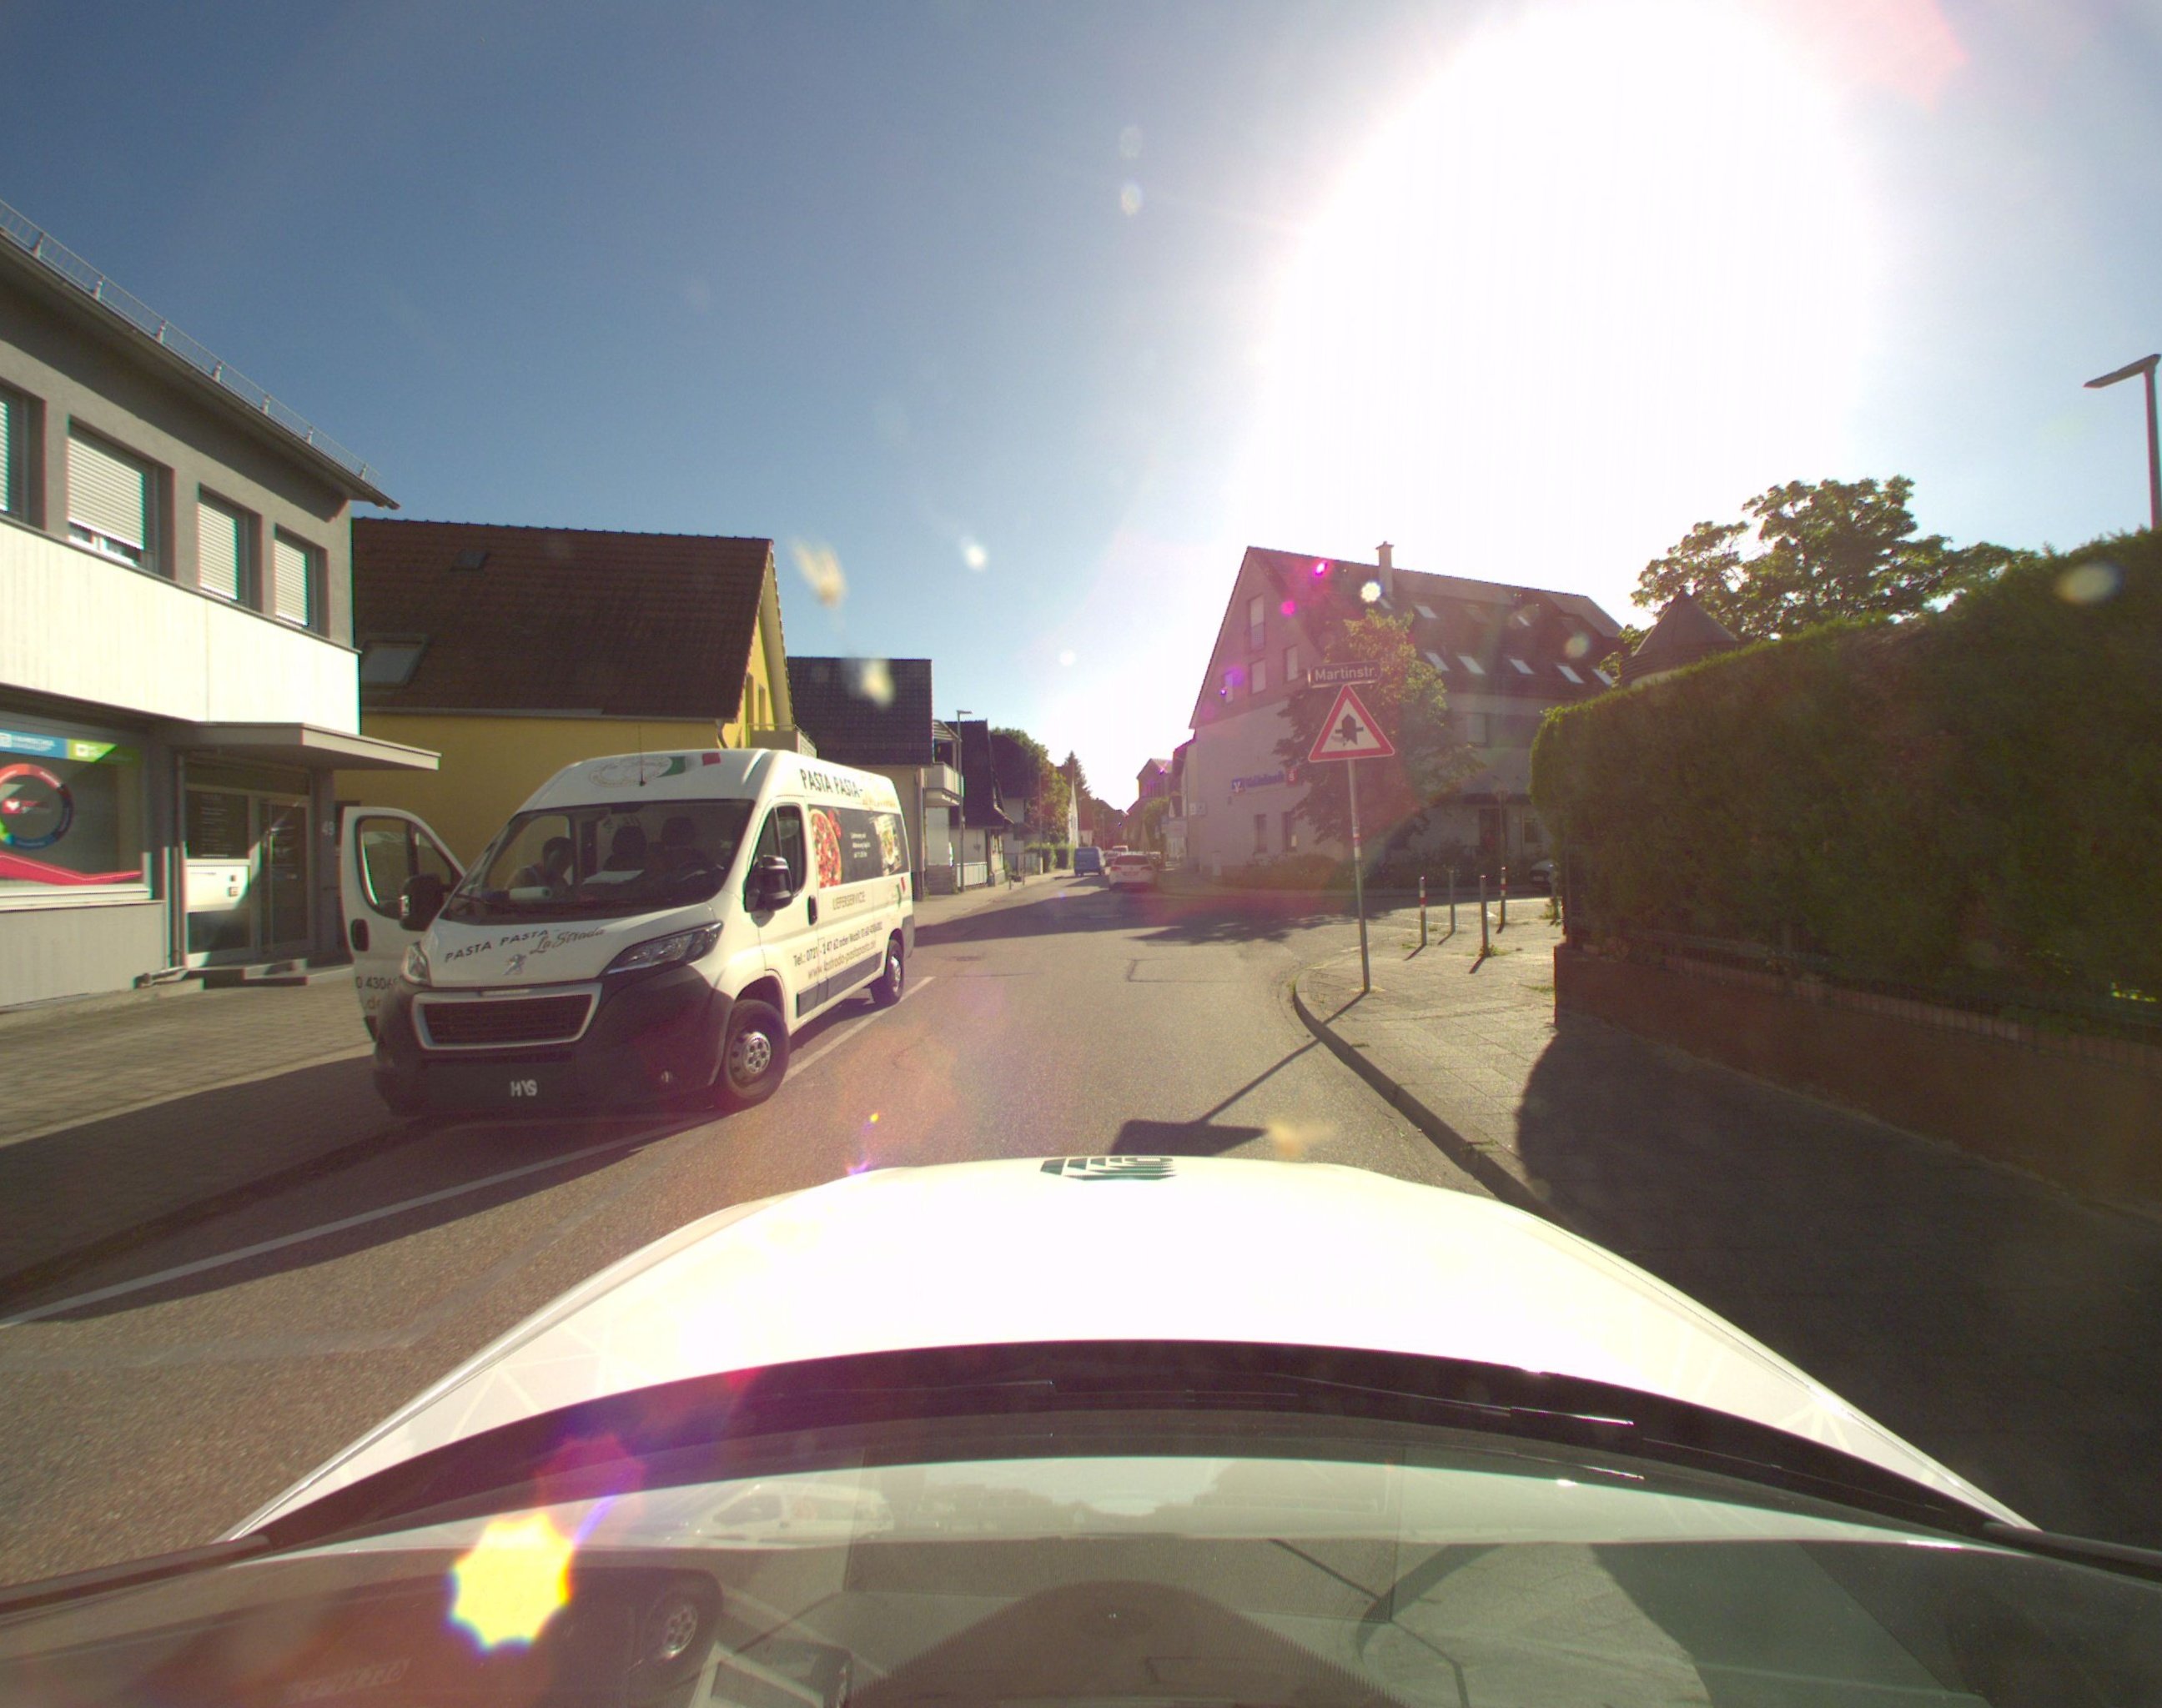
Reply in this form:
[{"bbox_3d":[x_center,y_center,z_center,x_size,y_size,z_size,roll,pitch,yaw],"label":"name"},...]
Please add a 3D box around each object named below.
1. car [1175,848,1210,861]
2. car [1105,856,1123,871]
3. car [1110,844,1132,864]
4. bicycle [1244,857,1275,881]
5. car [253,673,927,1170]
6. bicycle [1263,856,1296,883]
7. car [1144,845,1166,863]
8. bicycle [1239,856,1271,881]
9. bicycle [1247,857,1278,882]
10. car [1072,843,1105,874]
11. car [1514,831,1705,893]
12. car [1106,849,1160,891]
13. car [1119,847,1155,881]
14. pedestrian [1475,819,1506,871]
[{"bbox_3d":[13.612,0.064,99.406,3.883,1.492,1.854,-3,0,15],"label":"car"},{"bbox_3d":[3.689,1.041,90.491,1.706,1.598,3.932,-3,0,6],"label":"car"},{"bbox_3d":[5.063,-0.021,102.610,2.186,2.390,6.075,-4,0,6],"label":"car"},{"bbox_3d":[7.156,0.585,32.634,1.155,0.920,0.314,-2,0,11],"label":"bicycle"},{"bbox_3d":[-3.053,0.336,6.954,2.244,2.470,5.517,-2,0,1],"label":"car"},{"bbox_3d":[7.382,0.574,30.298,1.158,0.920,0.313,-2,0,1],"label":"bicycle"},{"bbox_3d":[6.376,-0.027,70.036,1.803,1.475,4.666,-1,0,5],"label":"car"},{"bbox_3d":[7.108,0.581,33.316,1.212,0.975,0.321,-2,0,17],"label":"bicycle"},{"bbox_3d":[7.125,0.612,32.036,1.155,0.920,0.314,-2,0,11],"label":"bicycle"},{"bbox_3d":[0.559,0.295,55.270,1.894,1.917,5.073,-3,0,3],"label":"car"},{"bbox_3d":[14.652,0.199,22.704,4.285,1.494,1.811,-2,0,-6],"label":"car"},{"bbox_3d":[2.133,0.576,32.369,1.836,1.514,4.515,-2,0,7],"label":"car"},{"bbox_3d":[2.629,0.454,38.526,1.603,1.521,3.975,0,0,3],"label":"car"},{"bbox_3d":[16.362,-0.362,32.551,0.773,2.013,0.763,-2,0,-12],"label":"pedestrian"}]
